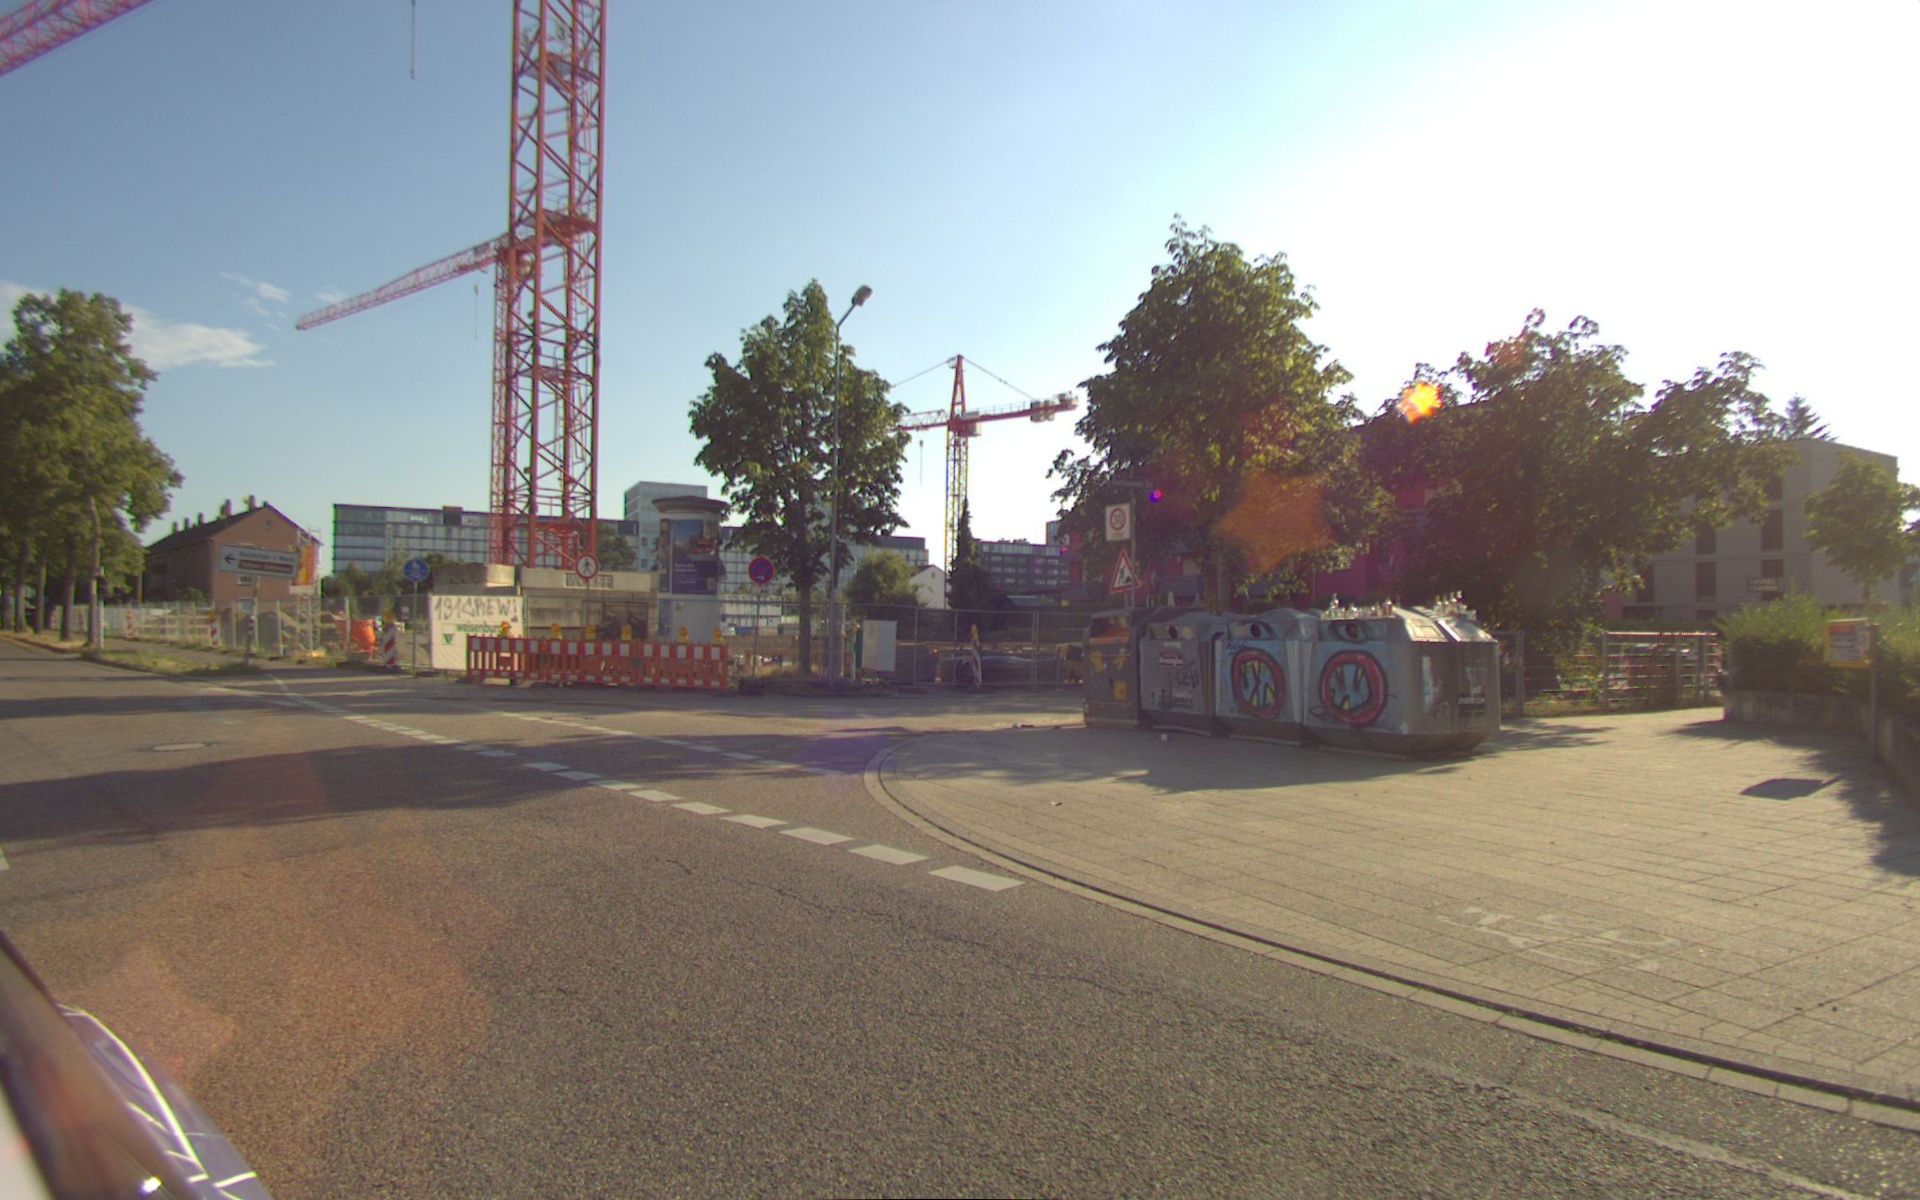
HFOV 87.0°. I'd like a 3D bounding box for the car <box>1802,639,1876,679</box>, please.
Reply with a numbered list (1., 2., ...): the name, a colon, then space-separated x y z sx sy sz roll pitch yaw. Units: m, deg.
1. car: 37.736 2.520 43.439 3.102 1.519 1.495 -1 0 -31
